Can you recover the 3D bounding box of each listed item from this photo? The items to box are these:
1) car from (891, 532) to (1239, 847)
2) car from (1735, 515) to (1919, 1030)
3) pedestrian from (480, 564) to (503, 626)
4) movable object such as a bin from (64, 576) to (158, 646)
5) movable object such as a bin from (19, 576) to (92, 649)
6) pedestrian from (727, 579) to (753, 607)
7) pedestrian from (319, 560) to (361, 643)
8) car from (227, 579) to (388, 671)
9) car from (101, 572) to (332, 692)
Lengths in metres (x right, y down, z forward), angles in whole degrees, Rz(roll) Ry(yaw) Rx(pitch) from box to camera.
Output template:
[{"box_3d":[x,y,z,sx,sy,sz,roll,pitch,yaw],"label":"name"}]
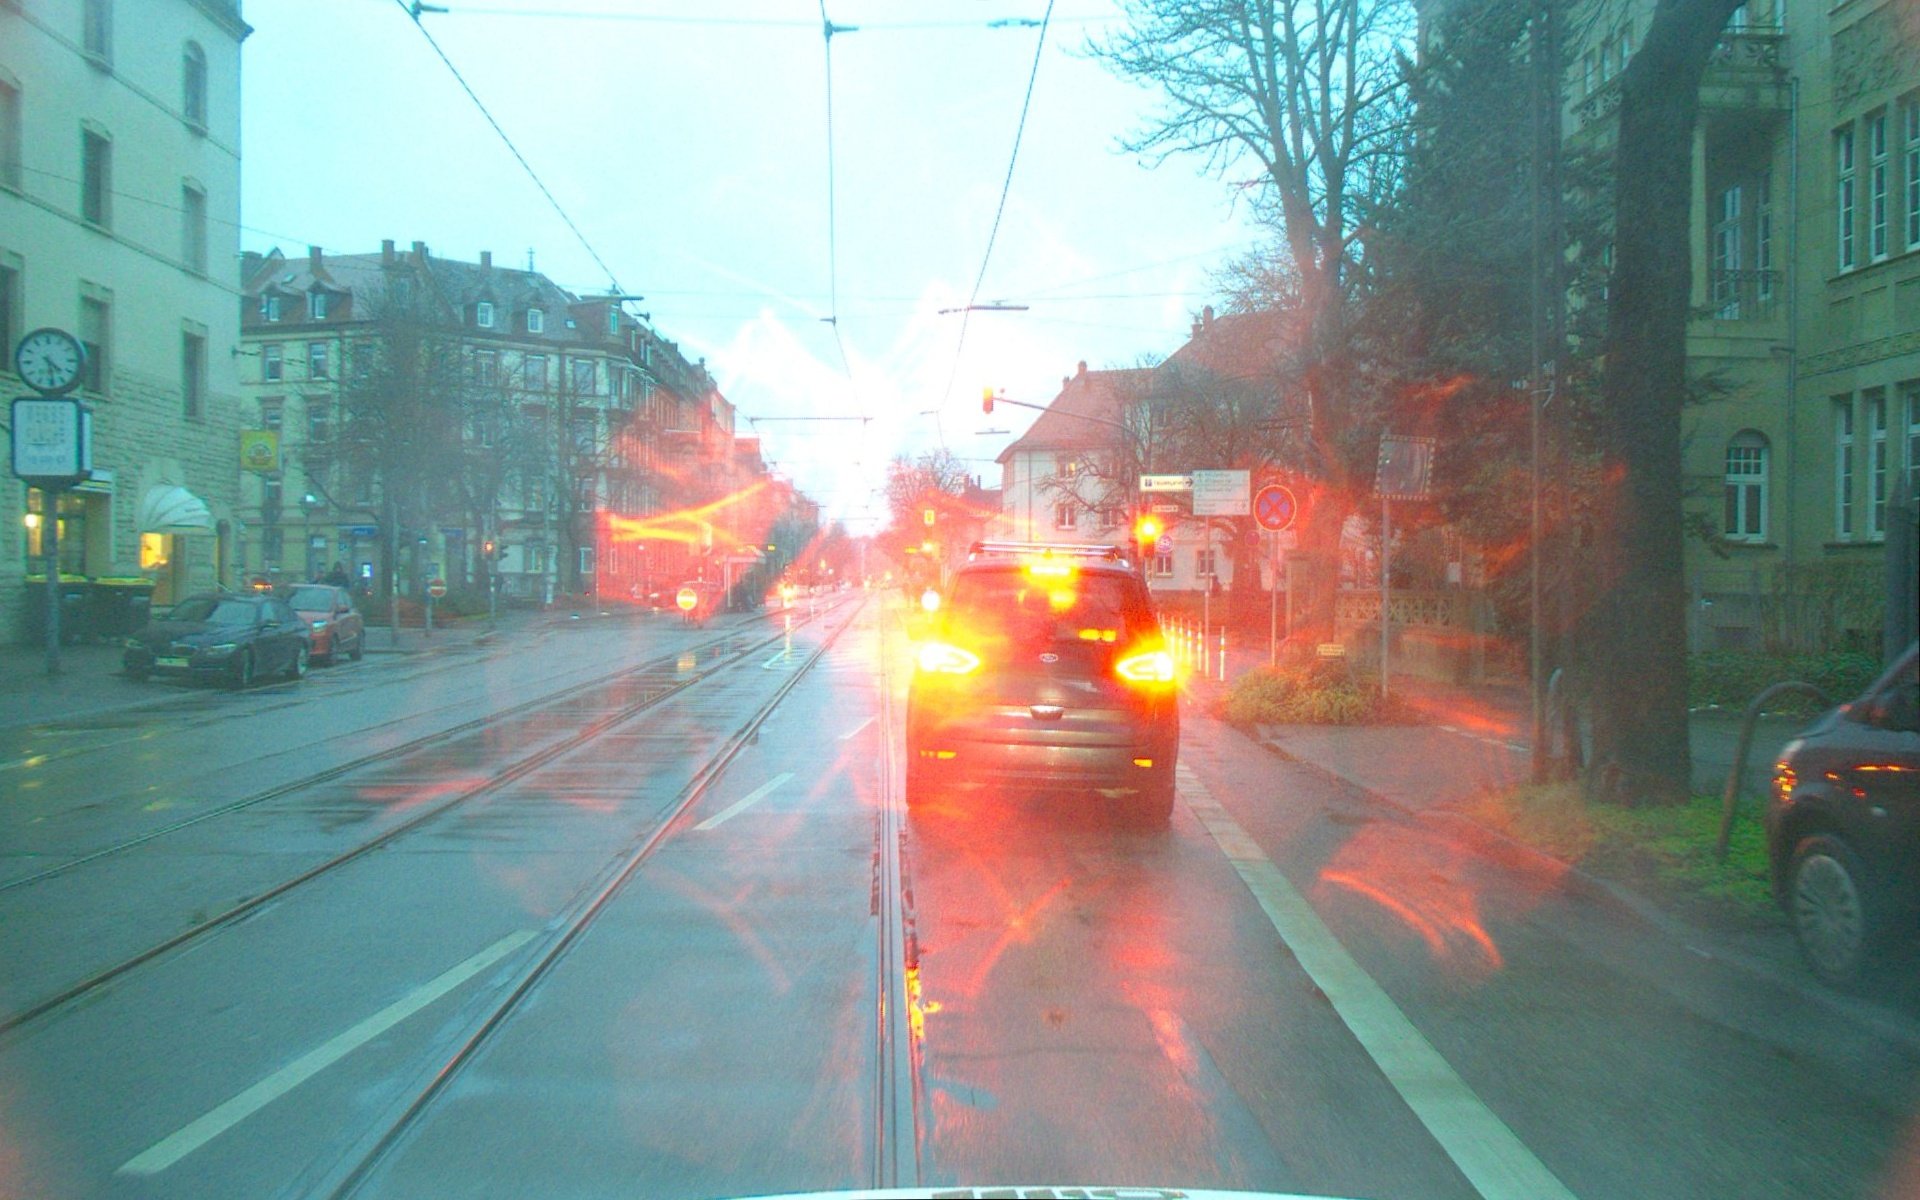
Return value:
[{"box_3d":[0.632,0.520,12.384,2.060,1.848,4.660,2,1,0],"label":"car"},{"box_3d":[4.598,0.646,5.030,1.990,1.908,4.961,-1,1,-3],"label":"car"},{"box_3d":[-15.725,-0.175,55.499,0.694,2.049,0.656,0,0,-22],"label":"pedestrian"},{"box_3d":[-17.115,0.211,33.378,1.268,1.391,1.252,1,0,-3],"label":"movable object such as a bin"},{"box_3d":[-17.536,0.233,32.079,0.881,1.401,1.006,1,0,-2],"label":"movable object such as a bin"},{"box_3d":[-9.756,-0.293,73.455,1.026,1.221,0.885,1,0,-1],"label":"pedestrian"},{"box_3d":[-15.453,0.028,41.231,0.742,2.049,0.646,1,0,34],"label":"pedestrian"},{"box_3d":[-13.049,0.459,33.340,1.999,1.578,4.025,4,1,-7],"label":"car"},{"box_3d":[-12.228,0.496,27.580,1.948,1.674,4.626,5,-1,-5],"label":"car"}]
